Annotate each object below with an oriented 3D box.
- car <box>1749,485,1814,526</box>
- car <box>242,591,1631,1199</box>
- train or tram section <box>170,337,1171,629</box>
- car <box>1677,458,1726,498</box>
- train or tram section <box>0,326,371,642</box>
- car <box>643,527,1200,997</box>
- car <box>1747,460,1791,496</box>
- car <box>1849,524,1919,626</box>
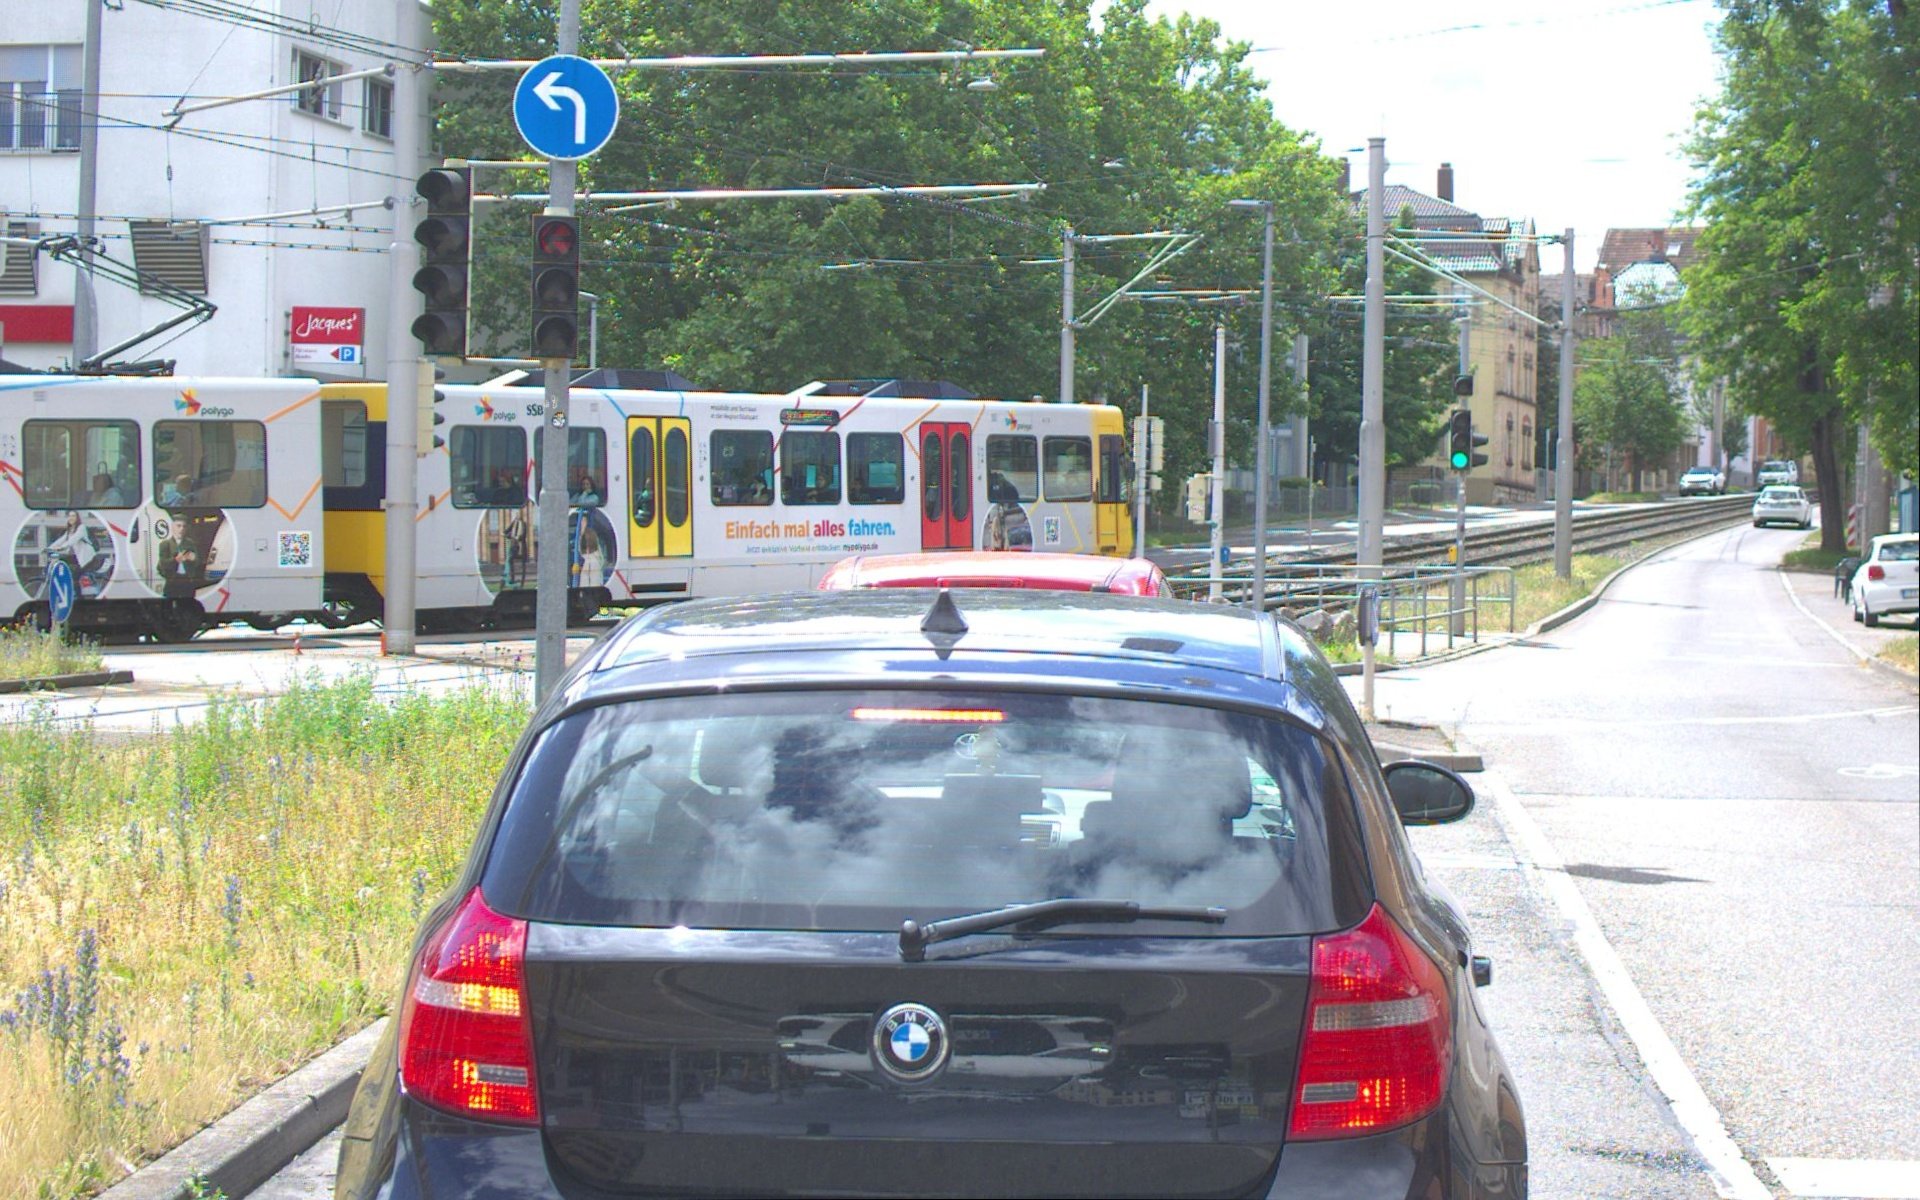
[{"bbox_3d":[29.475,-3.377,123.242,1.817,1.463,3.996,0,1,20],"label":"car"},{"bbox_3d":[-0.116,0.713,6.218,1.701,1.447,4.000,0,0,-3],"label":"car"},{"bbox_3d":[-3.509,-1.582,54.025,3.757,3.801,20.011,0,0,35],"label":"train or tram section"},{"bbox_3d":[40.491,-6.651,187.745,1.996,2.007,3.996,0,0,21],"label":"car"},{"bbox_3d":[-17.295,-1.374,40.718,20.569,3.866,3.761,-1,0,-34],"label":"train or tram section"},{"bbox_3d":[0.012,0.505,12.827,1.625,1.468,3.999,0,0,6],"label":"car"},{"bbox_3d":[48.723,-7.354,207.044,1.996,2.007,3.996,0,0,21],"label":"car"},{"bbox_3d":[15.426,-0.405,55.822,1.788,1.590,3.998,0,0,13],"label":"car"}]
